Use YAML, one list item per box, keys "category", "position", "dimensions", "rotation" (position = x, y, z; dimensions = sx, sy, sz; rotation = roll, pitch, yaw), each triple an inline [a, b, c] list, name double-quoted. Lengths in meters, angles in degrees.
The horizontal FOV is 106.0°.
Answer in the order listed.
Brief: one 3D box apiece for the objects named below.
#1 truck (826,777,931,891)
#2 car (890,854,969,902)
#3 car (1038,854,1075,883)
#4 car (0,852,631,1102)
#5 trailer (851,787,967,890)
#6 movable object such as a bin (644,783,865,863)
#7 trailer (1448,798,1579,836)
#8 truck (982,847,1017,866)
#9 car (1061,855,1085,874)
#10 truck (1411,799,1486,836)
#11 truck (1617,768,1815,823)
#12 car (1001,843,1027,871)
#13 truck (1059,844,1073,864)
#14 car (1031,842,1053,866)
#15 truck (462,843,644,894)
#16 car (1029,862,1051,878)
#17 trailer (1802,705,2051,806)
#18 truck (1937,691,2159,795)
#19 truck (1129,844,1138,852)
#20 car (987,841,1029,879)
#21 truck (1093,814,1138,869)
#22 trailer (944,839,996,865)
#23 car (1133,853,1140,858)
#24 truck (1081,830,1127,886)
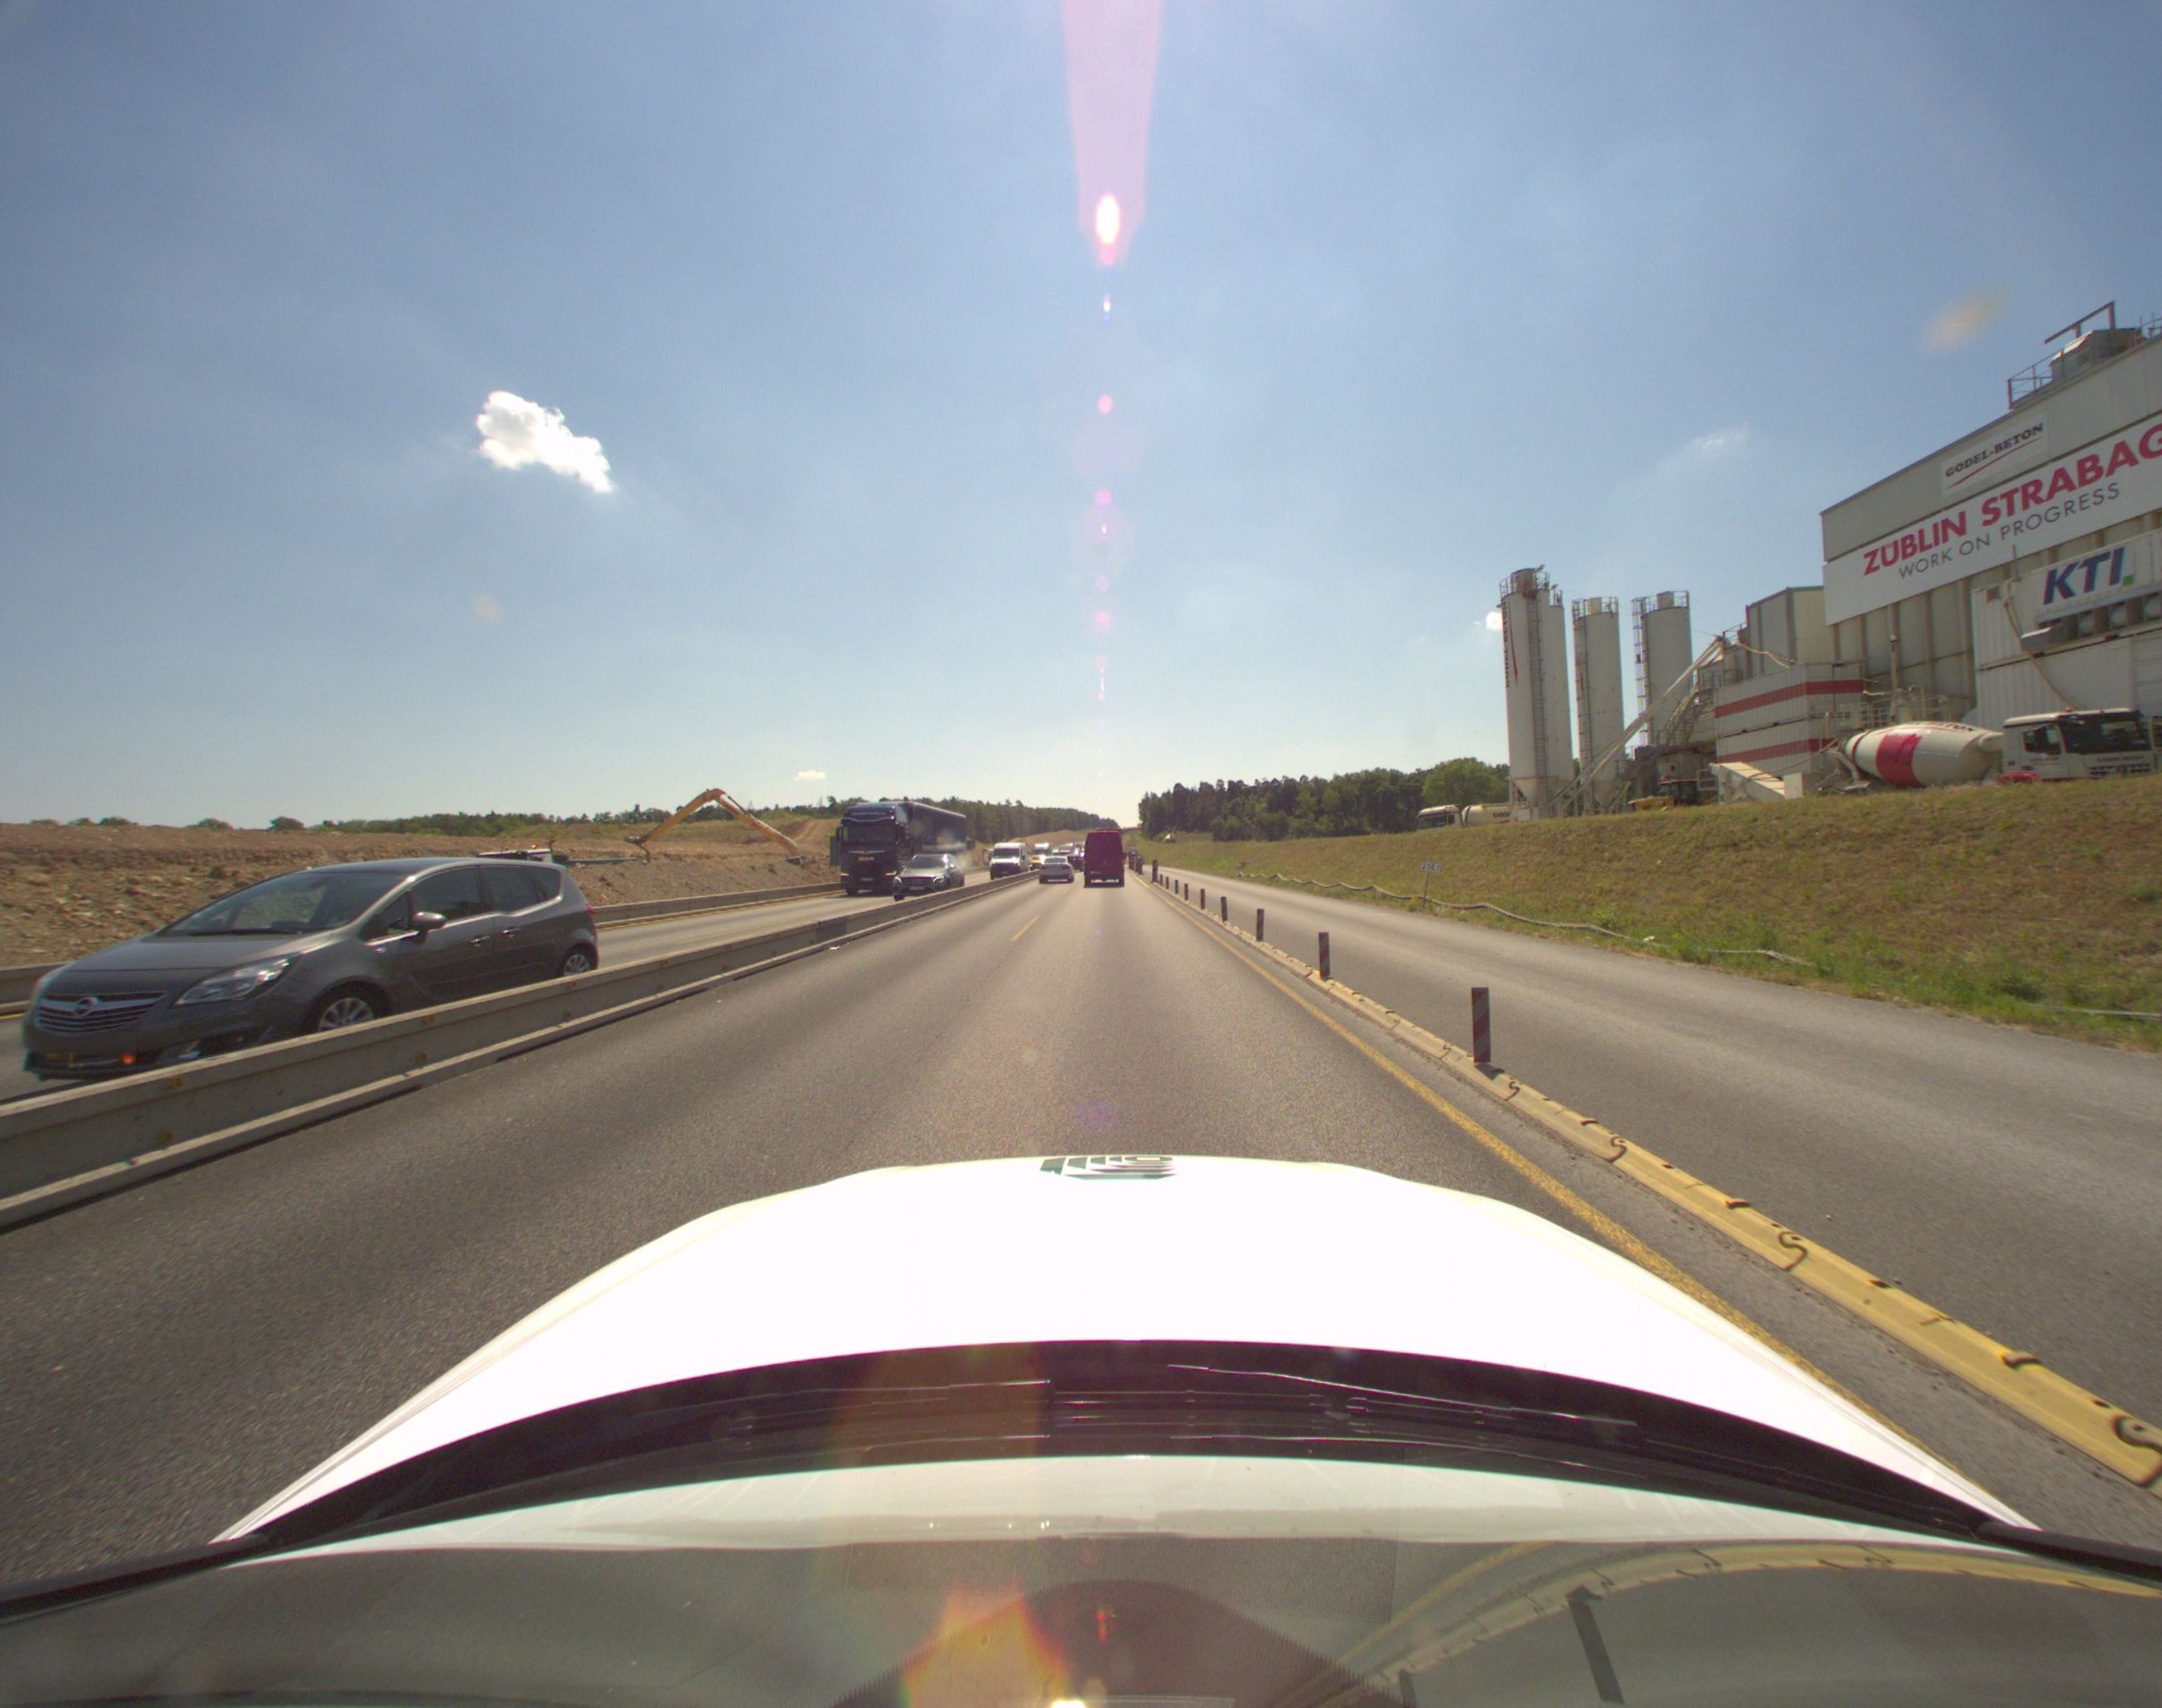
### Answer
- category: "truck"
  position: [-8.856, -0.799, 36.390]
  dimensions: [2.954, 4.652, 6.246]
  rotation: [0, -1, 2]
- category: "car"
  position: [-5.447, 0.826, 29.901]
  dimensions: [1.861, 1.629, 4.887]
  rotation: [0, 0, 2]
- category: "car"
  position: [-1.304, 0.781, 45.462]
  dimensions: [1.824, 1.522, 3.962]
  rotation: [0, 0, 2]
- category: "car"
  position: [-6.174, 0.789, 7.341]
  dimensions: [1.759, 1.565, 4.227]
  rotation: [0, 0, 2]
- category: "trailer"
  position: [-8.672, -0.648, 43.228]
  dimensions: [2.974, 4.596, 12.888]
  rotation: [0, -1, 2]
- category: "movable object such as a bin"
  position: [-28.662, -2.687, 71.994]
  dimensions: [18.155, 6.773, 3.389]
  rotation: [0, -1, 1]
- category: "trailer"
  position: [33.367, -2.870, 62.948]
  dimensions: [8.872, 2.607, 2.462]
  rotation: [-1, -1, -3]
- category: "truck"
  position: [-13.093, 0.396, 131.137]
  dimensions: [5.067, 2.964, 2.567]
  rotation: [1, -2, -23]
- category: "car"
  position: [-0.714, 0.926, 73.295]
  dimensions: [1.959, 1.541, 4.313]
  rotation: [0, 0, 2]
- category: "truck"
  position: [27.910, -2.707, 61.736]
  dimensions: [5.330, 2.544, 2.873]
  rotation: [0, -1, -35]
- category: "truck"
  position: [36.389, -3.303, 46.935]
  dimensions: [9.023, 2.868, 2.464]
  rotation: [0, -1, 7]
- category: "car"
  position: [-7.309, 0.330, 89.236]
  dimensions: [2.243, 2.955, 5.851]
  rotation: [0, -1, 2]
- category: "truck"
  position: [-2.377, 0.085, 131.935]
  dimensions: [2.264, 3.150, 7.310]
  rotation: [0, -1, -1]
- category: "car"
  position: [-6.109, 0.006, 129.396]
  dimensions: [2.897, 3.740, 8.094]
  rotation: [0, 0, 2]
- category: "truck"
  position: [-23.589, 0.621, 37.170]
  dimensions: [2.553, 2.058, 8.803]
  rotation: [0, 0, 0]
- category: "car"
  position: [-4.164, 1.614, 82.577]
  dimensions: [1.754, 1.574, 4.365]
  rotation: [-1, 0, 3]
- category: "trailer"
  position: [29.241, -3.237, 28.680]
  dimensions: [1.984, 2.644, 6.945]
  rotation: [0, -1, 5]
- category: "truck"
  position: [28.851, -3.209, 24.536]
  dimensions: [2.007, 2.545, 4.046]
  rotation: [0, -1, 5]
- category: "truck"
  position: [16.049, -1.889, 248.830]
  dimensions: [2.117, 2.457, 5.940]
  rotation: [0, 1, 9]
- category: "car"
  position: [-4.830, 0.346, 54.499]
  dimensions: [2.027, 2.343, 6.198]
  rotation: [0, 0, 2]
- category: "truck"
  position: [3.717, -1.162, 89.909]
  dimensions: [4.383, 5.496, 16.609]
  rotation: [0, 0, 2]
- category: "trailer"
  position: [-18.002, -0.279, 132.100]
  dimensions: [8.264, 4.098, 2.817]
  rotation: [-1, -1, 28]
- category: "car"
  position: [15.794, 0.366, 230.836]
  dimensions: [1.647, 1.426, 4.548]
  rotation: [-3, 1, 2]
- category: "truck"
  position: [1.175, 0.211, 41.008]
  dimensions: [2.145, 2.590, 5.335]
  rotation: [0, 0, 2]
